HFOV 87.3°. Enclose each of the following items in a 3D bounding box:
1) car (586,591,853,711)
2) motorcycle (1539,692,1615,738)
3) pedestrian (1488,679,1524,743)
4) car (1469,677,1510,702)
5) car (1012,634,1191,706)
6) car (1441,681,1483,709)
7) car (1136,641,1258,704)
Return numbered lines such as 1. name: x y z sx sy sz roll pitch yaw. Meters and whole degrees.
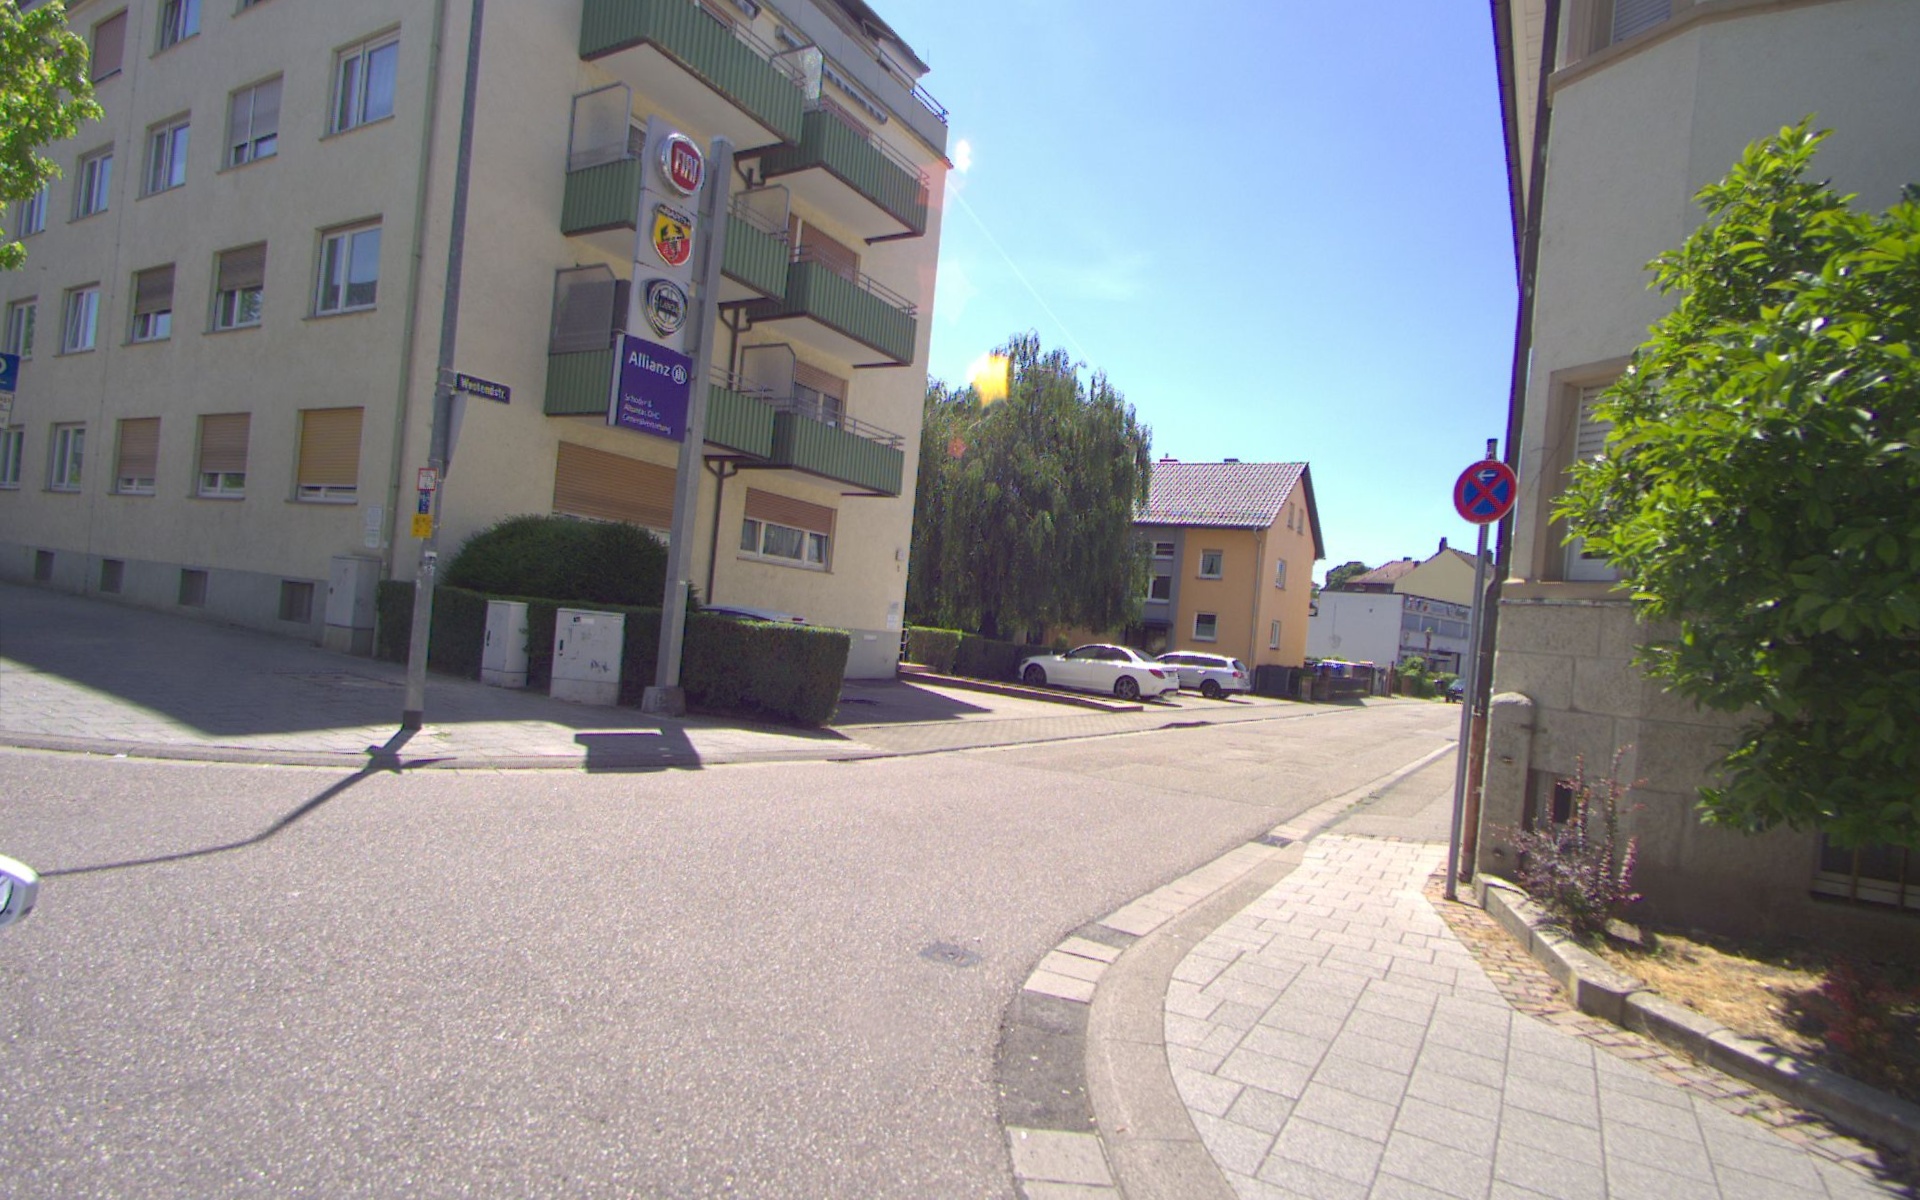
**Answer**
1. car: -3.875 0.789 16.206 3.788 1.434 1.842 5 -1 27
2. motorcycle: 17.972 3.341 29.337 1.772 1.173 0.737 3 -4 26
3. pedestrian: 14.991 3.035 27.617 0.706 1.646 0.684 6 0 32
4. car: 37.971 6.428 72.135 1.828 1.517 4.056 5 -2 38
5. car: 3.995 1.957 28.603 4.510 1.479 1.997 5 -1 31
6. car: 31.889 6.036 63.872 1.793 1.517 3.878 5 -2 34
7. car: 8.187 2.476 34.784 3.707 1.706 1.697 5 -1 27
